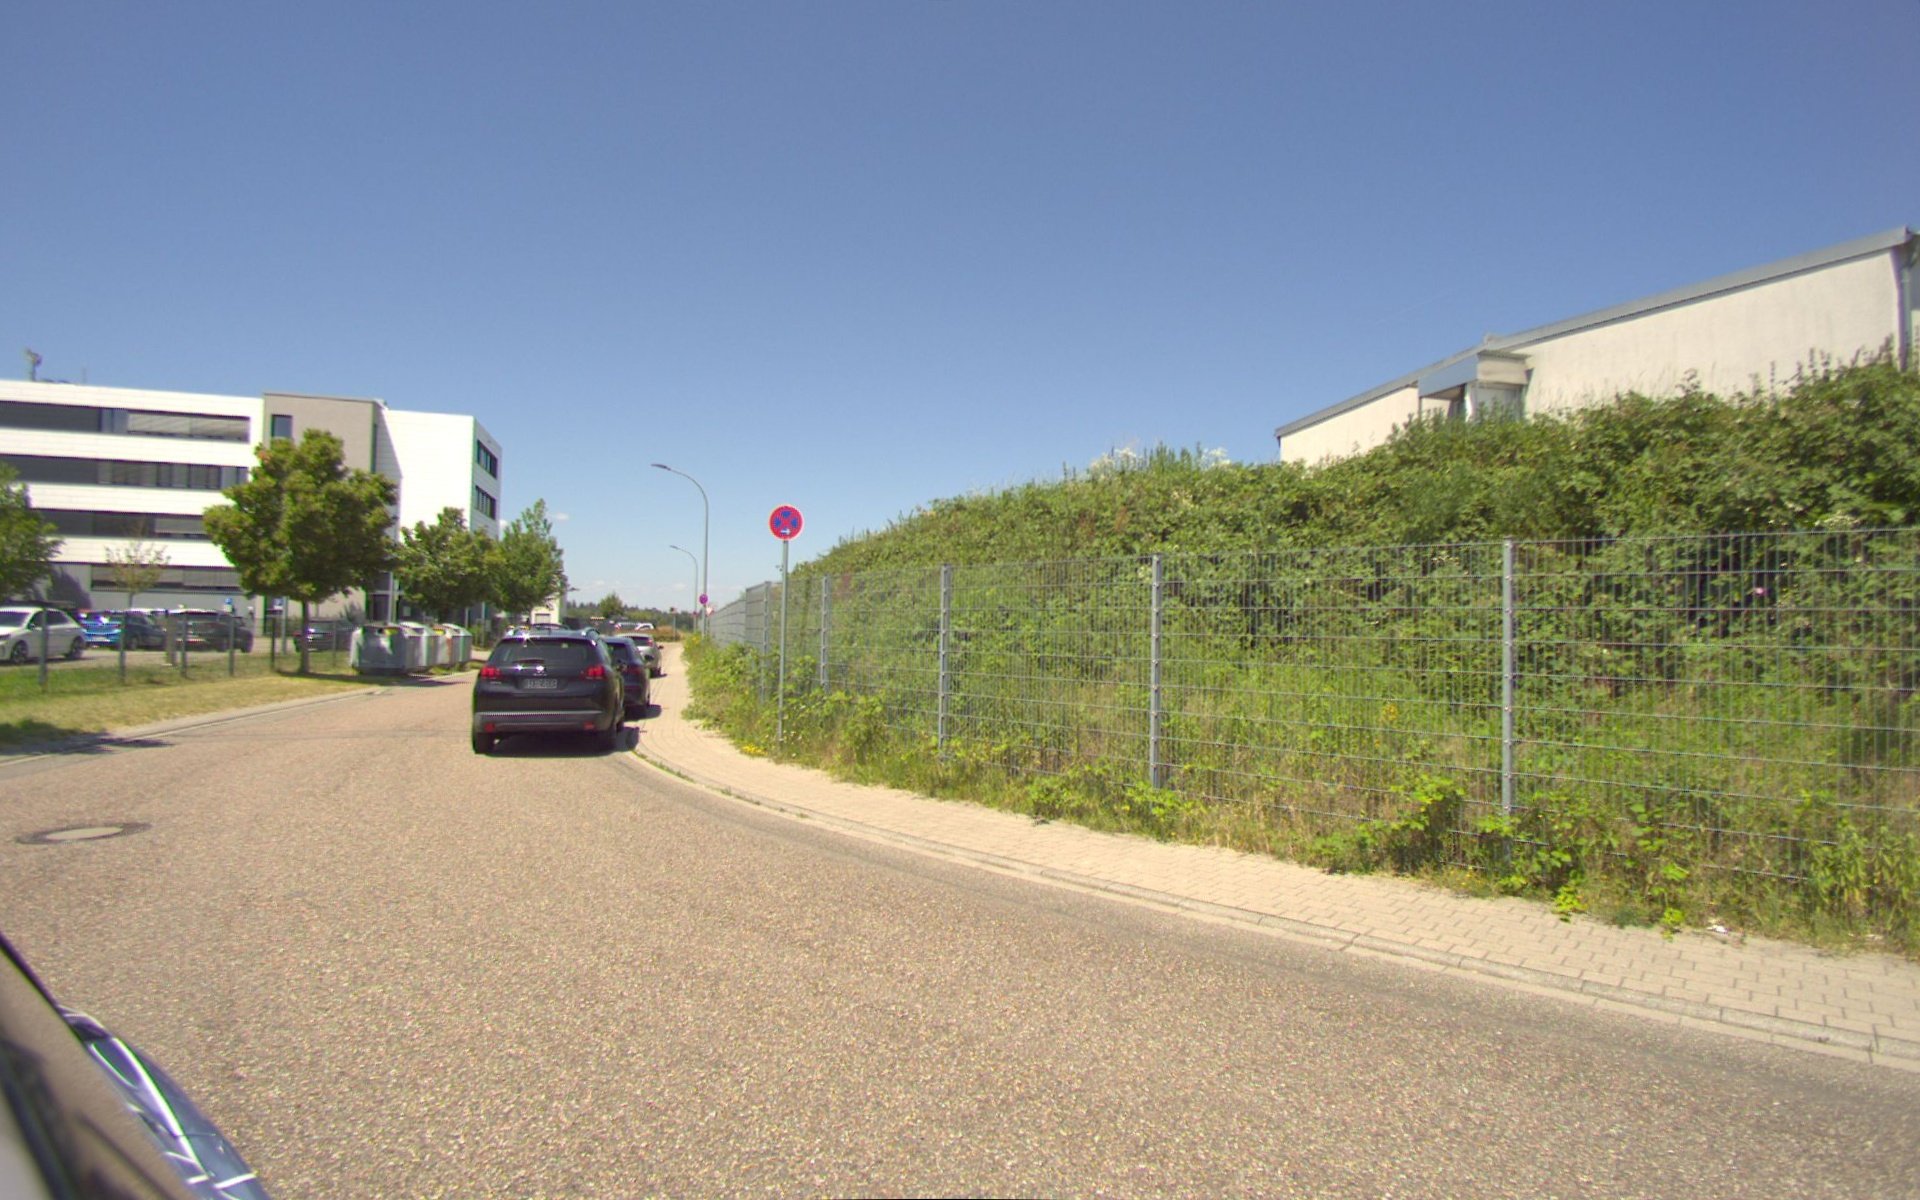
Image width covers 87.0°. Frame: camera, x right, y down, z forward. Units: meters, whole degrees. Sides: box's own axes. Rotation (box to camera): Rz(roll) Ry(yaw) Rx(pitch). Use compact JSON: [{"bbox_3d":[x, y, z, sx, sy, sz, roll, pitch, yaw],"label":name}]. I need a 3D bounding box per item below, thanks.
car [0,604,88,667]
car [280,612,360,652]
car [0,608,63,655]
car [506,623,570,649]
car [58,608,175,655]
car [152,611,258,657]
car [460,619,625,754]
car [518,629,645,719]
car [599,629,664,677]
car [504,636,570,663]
[{"bbox_3d":[-25.105,0.877,26.541,1.824,1.510,3.936,1,0,-14],"label":"car"},{"bbox_3d":[-27.014,1.392,42.874,1.801,1.466,3.936,-1,-5,-16],"label":"car"},{"bbox_3d":[-39.043,1.339,41.438,1.802,1.657,3.935,-1,-5,-14],"label":"car"},{"bbox_3d":[-29.435,2.505,70.699,3.932,1.653,1.896,-1,-1,-16],"label":"car"},{"bbox_3d":[-30.555,1.176,36.824,1.801,1.466,3.936,-1,-5,-16],"label":"car"},{"bbox_3d":[-27.973,1.290,37.665,1.801,1.586,3.936,2,-3,-16],"label":"car"},{"bbox_3d":[-5.572,1.112,13.959,1.631,1.567,4.144,2,-3,-16],"label":"car"},{"bbox_3d":[-6.901,1.323,18.865,1.908,1.466,4.294,2,-3,-17],"label":"car"},{"bbox_3d":[-11.416,1.838,35.412,1.824,1.531,3.958,2,-3,-13],"label":"car"},{"bbox_3d":[-28.467,3.332,68.226,3.932,1.716,1.896,-1,-1,-16],"label":"car"}]
